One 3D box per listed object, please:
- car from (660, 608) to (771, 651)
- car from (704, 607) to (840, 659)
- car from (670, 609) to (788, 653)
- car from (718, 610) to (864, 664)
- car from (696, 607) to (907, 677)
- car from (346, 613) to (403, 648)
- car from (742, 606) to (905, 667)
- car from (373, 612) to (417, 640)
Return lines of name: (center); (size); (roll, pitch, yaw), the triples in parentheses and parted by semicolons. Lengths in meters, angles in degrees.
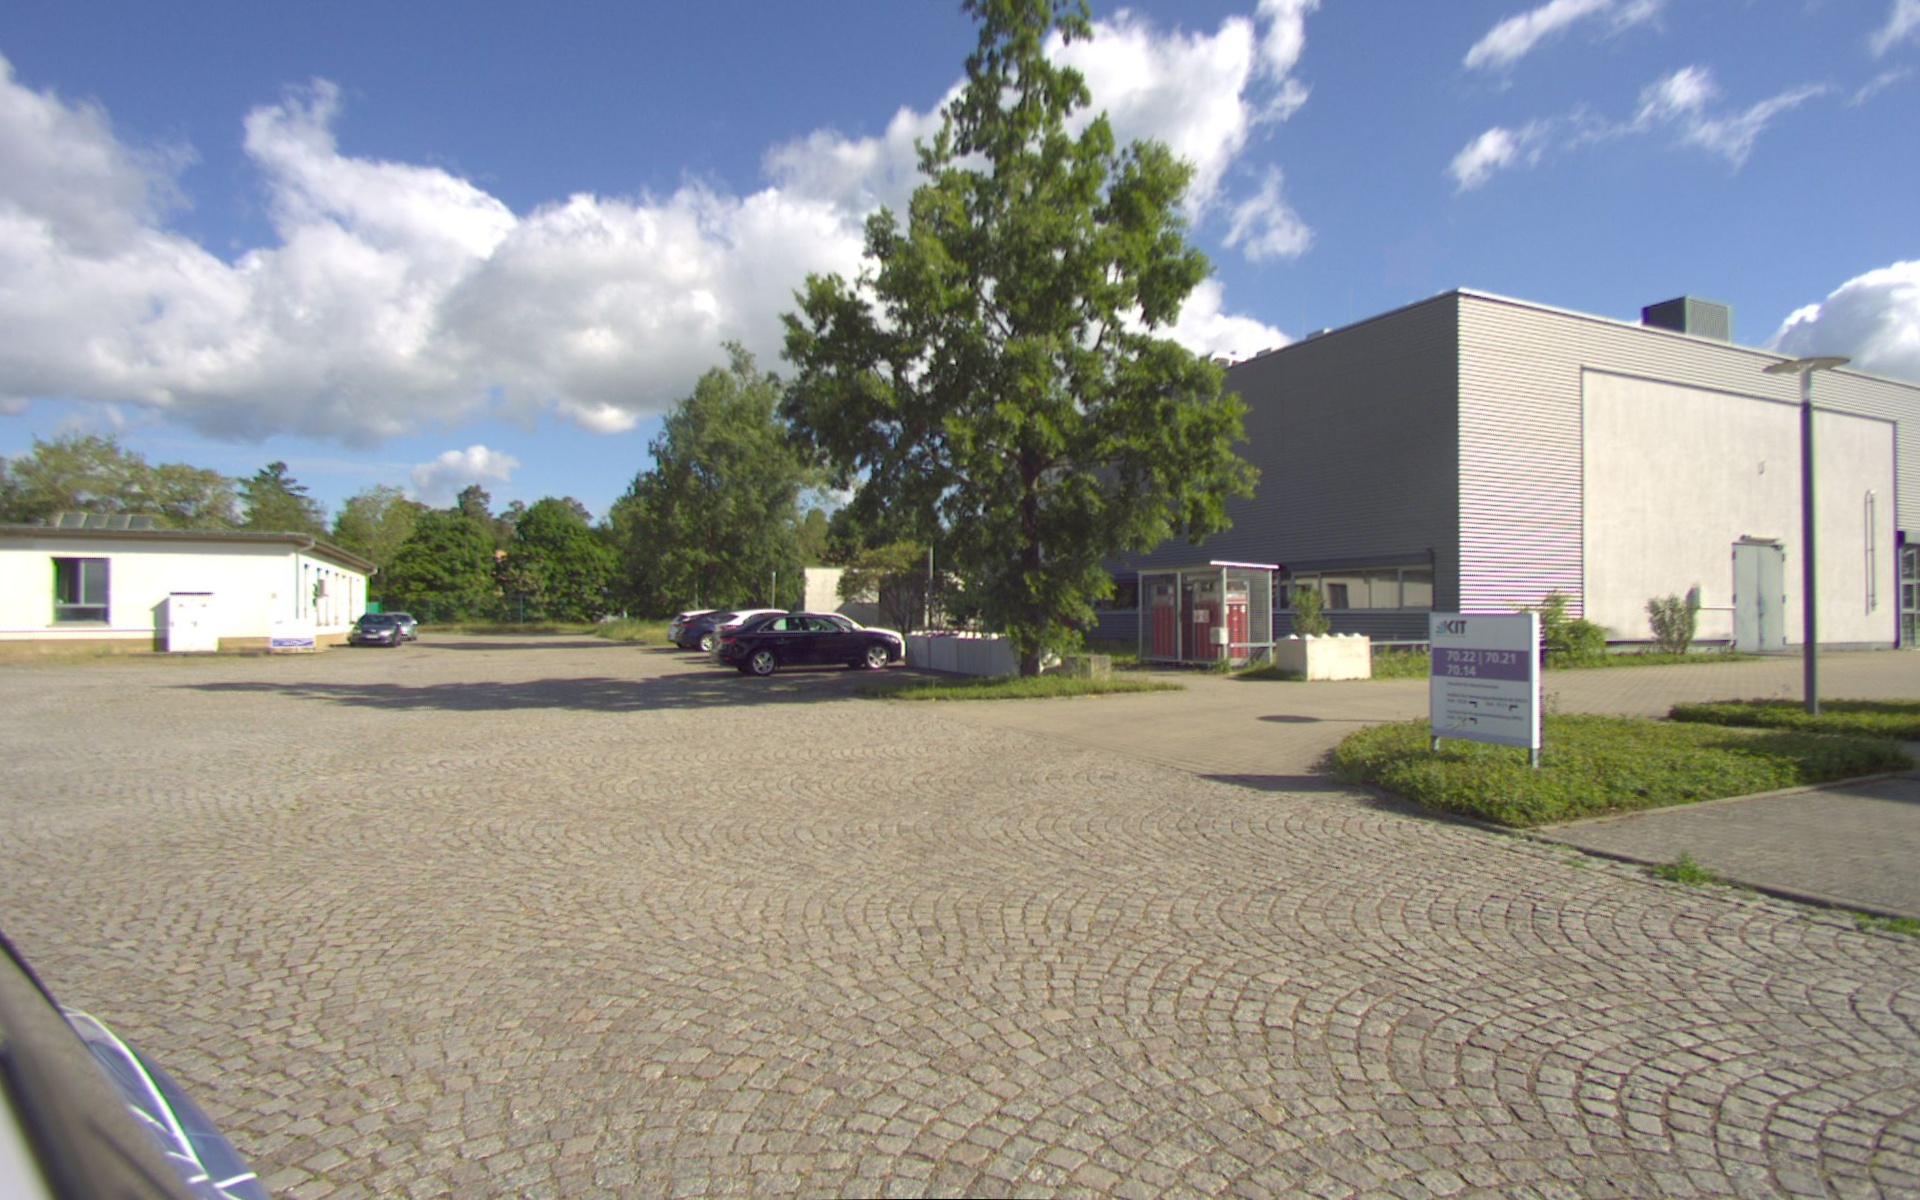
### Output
car: (-9.422, 1.110, 38.983); (3.857, 1.446, 1.801); (-2, 0, -24)
car: (-5.933, 1.009, 31.939); (3.857, 1.457, 1.761); (-2, 0, -24)
car: (-8.335, 1.102, 36.552); (3.857, 1.428, 1.698); (-2, 0, -24)
car: (-4.931, 1.047, 29.556); (3.857, 1.382, 1.734); (-2, 0, -24)
car: (-3.790, 0.966, 24.348); (4.652, 1.434, 1.763); (-2, 0, -26)
car: (-25.297, 1.299, 43.854); (1.738, 1.446, 4.005); (1, -1, -24)
car: (-3.708, 0.951, 27.406); (4.080, 1.471, 1.697); (-2, 0, -20)
car: (-29.712, 1.367, 53.308); (1.663, 1.446, 4.000); (1, -1, -24)
